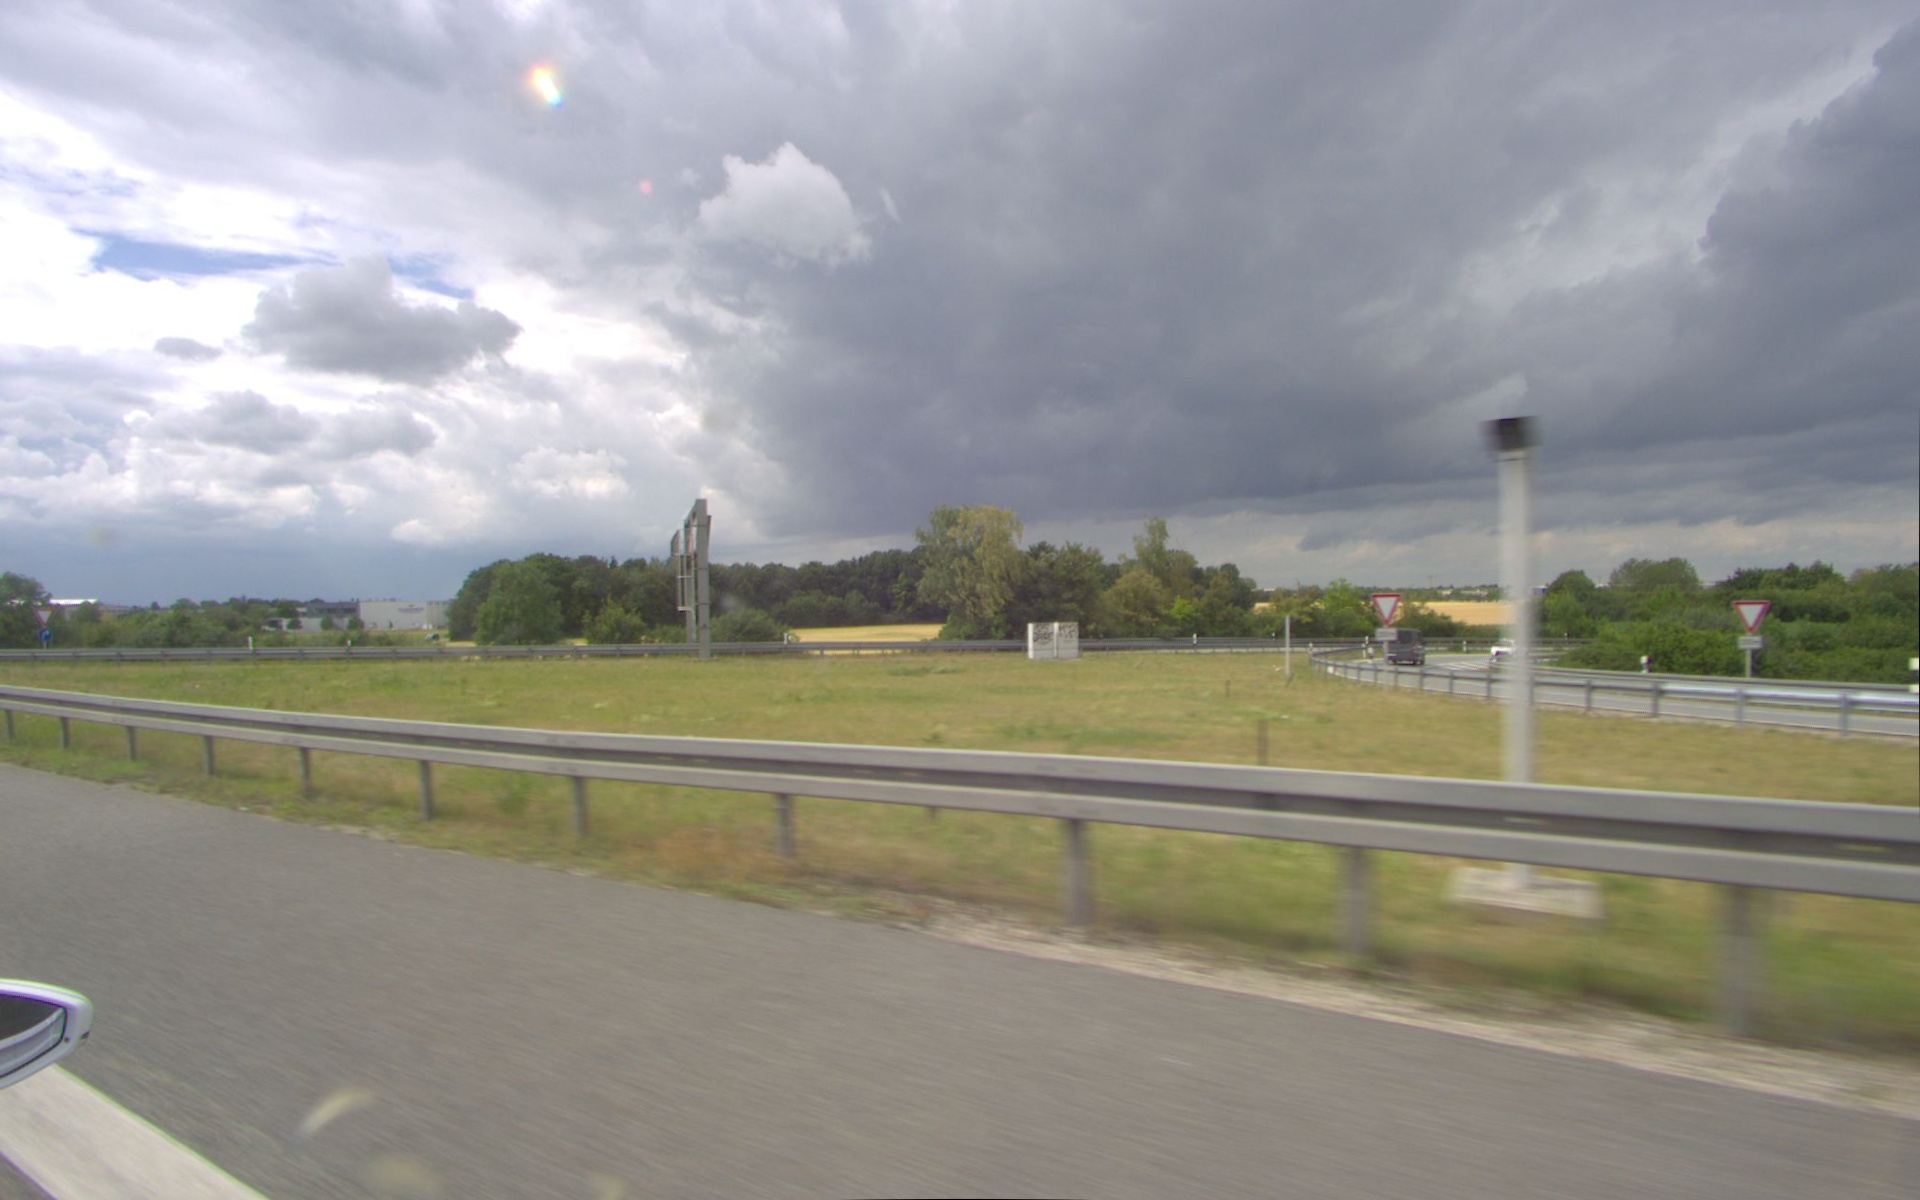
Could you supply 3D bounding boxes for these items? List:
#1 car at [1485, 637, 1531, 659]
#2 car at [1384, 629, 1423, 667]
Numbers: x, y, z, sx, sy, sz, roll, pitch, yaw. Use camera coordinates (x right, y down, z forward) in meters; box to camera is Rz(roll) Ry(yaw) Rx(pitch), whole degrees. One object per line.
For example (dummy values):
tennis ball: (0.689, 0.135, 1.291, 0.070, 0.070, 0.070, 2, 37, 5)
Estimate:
car: (46.087, 4.010, 84.189, 3.954, 1.731, 1.984, 2, -1, -38)
car: (28.497, 3.034, 64.267, 1.883, 2.291, 4.630, 1, -1, 29)
